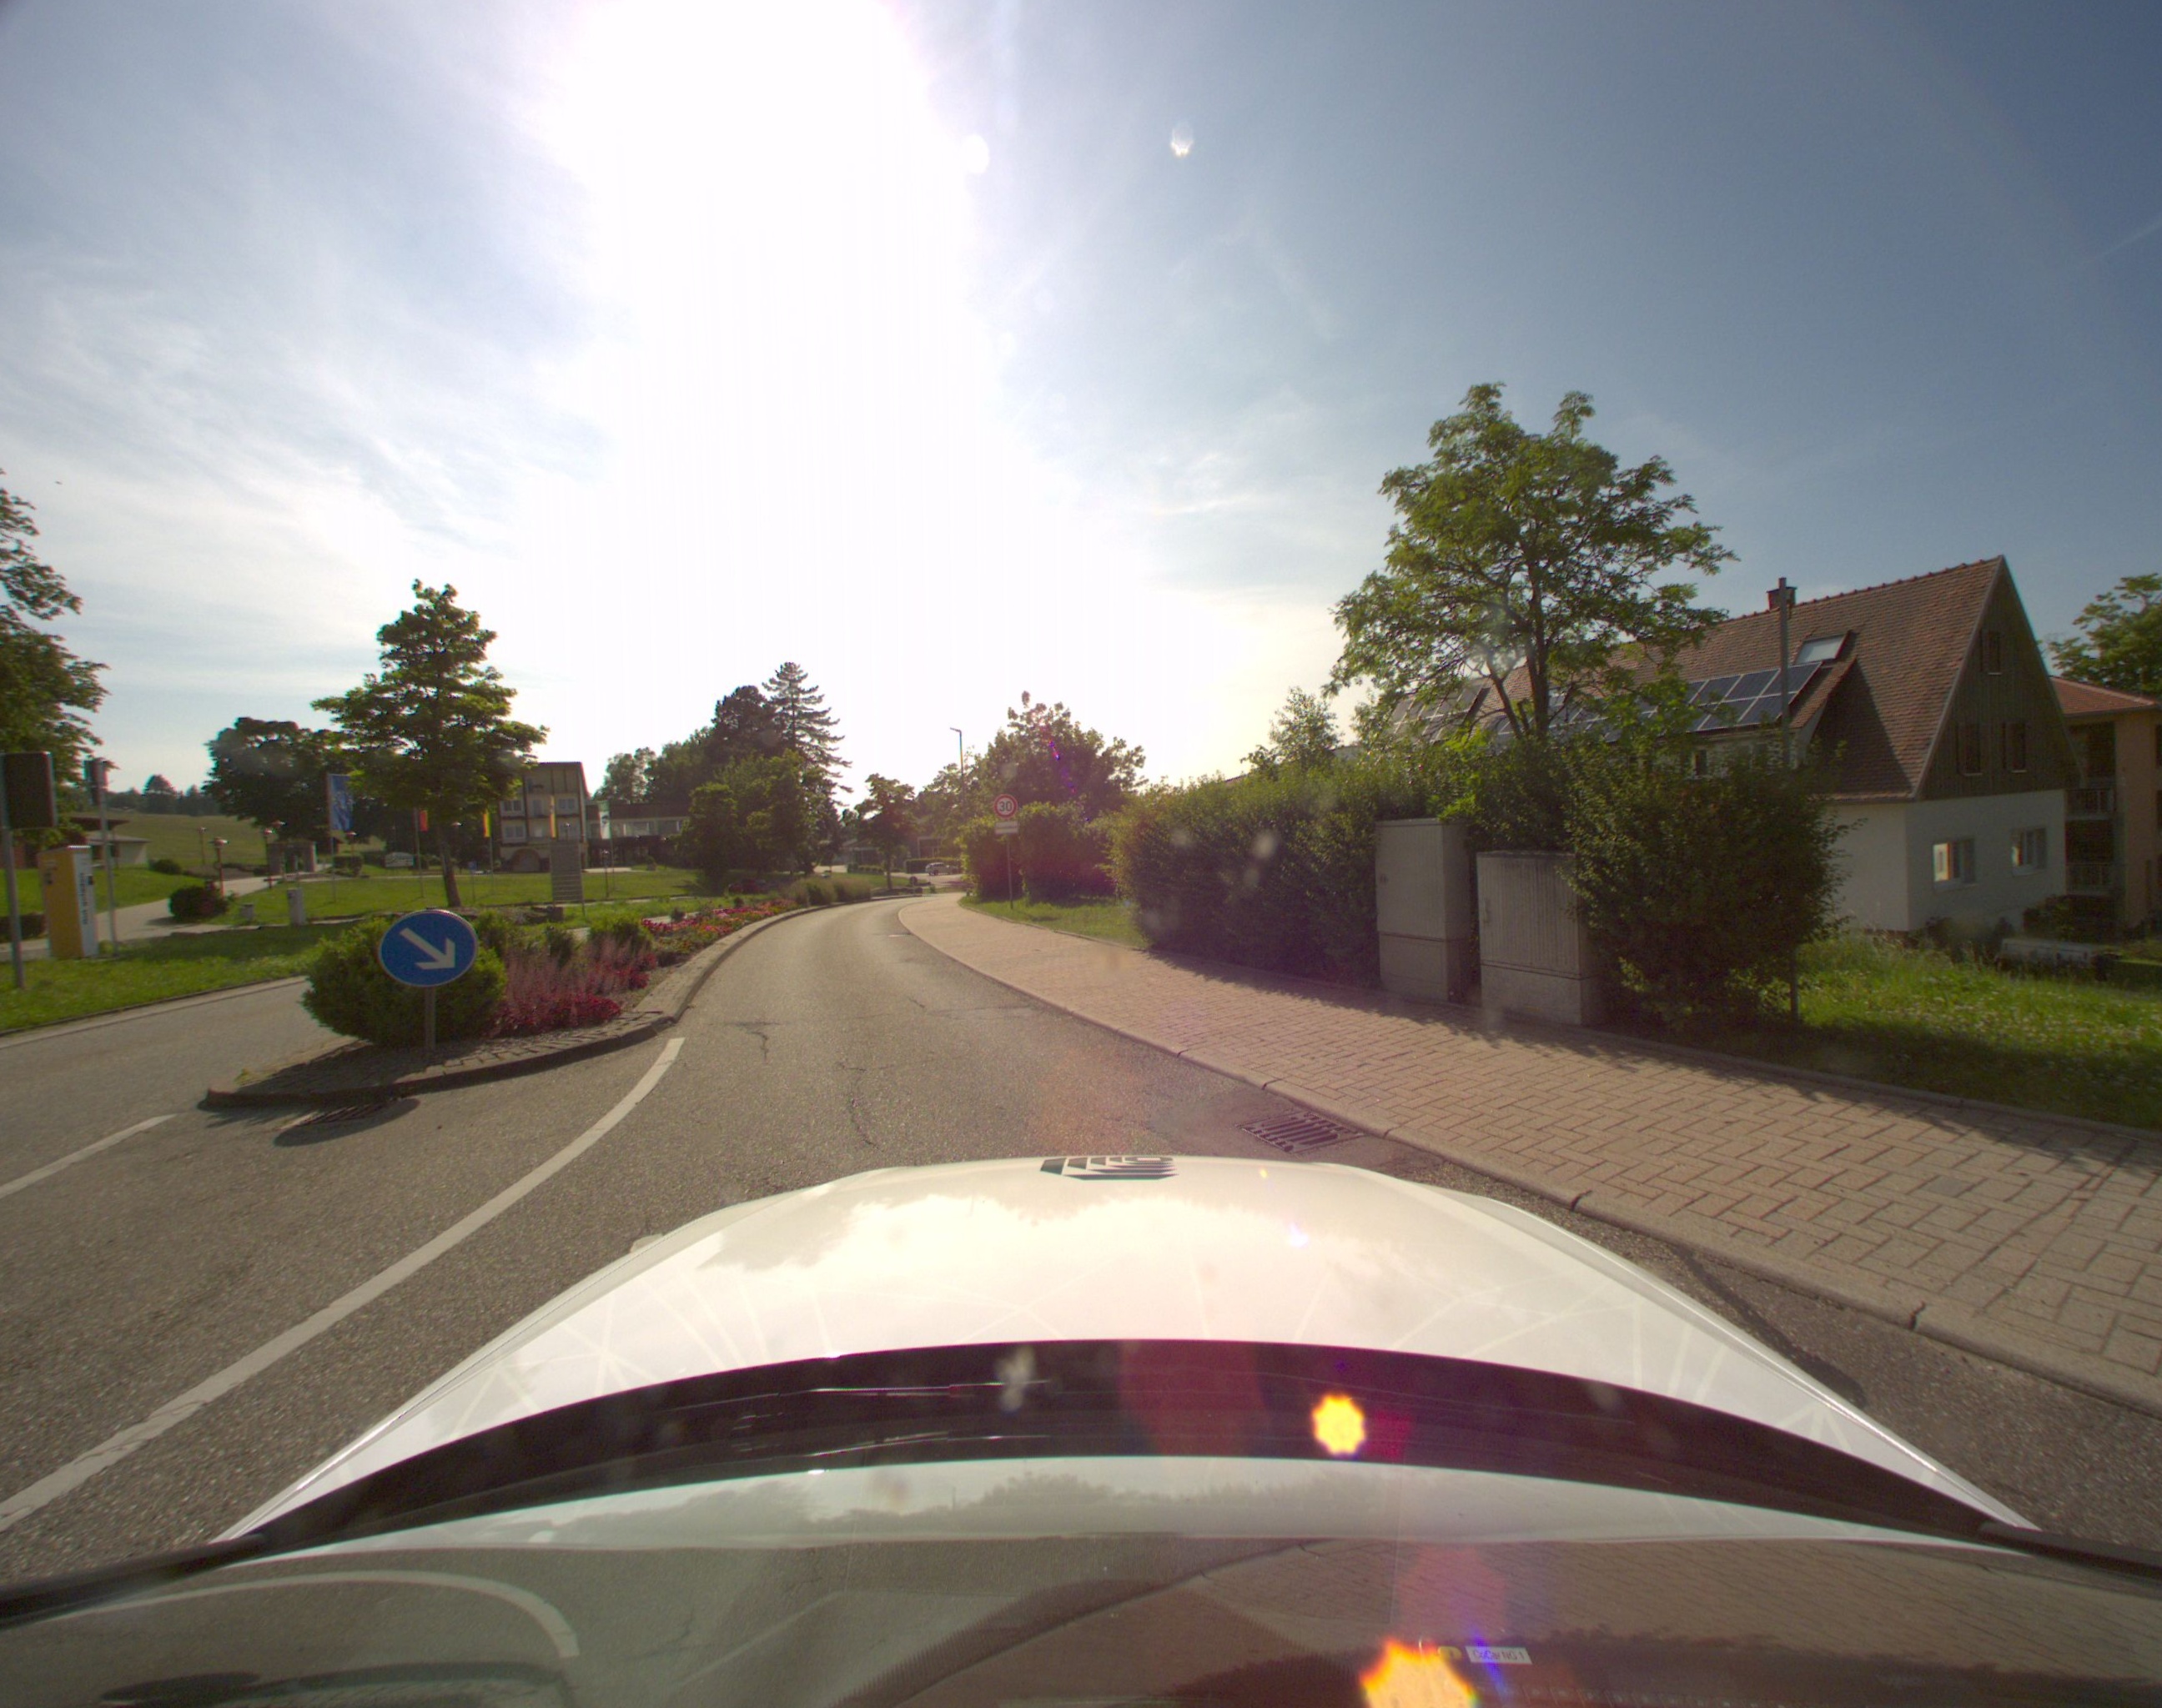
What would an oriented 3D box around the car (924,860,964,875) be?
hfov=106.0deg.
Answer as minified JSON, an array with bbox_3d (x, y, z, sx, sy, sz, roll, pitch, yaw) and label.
[{"bbox_3d":[-18.300,1.831,108.851,4.750,1.533,1.979,-4,5,-34],"label":"car"}]

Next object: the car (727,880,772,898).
[{"bbox_3d":[-28.337,2.986,69.543,3.170,1.470,1.785,-1,-1,22],"label":"car"}]

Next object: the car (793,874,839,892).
[{"bbox_3d":[-24.828,2.732,76.354,3.894,1.609,1.786,-1,-1,23],"label":"car"}]

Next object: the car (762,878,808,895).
[{"bbox_3d":[-26.364,2.875,72.563,3.668,1.434,1.786,-1,-1,23],"label":"car"}]
